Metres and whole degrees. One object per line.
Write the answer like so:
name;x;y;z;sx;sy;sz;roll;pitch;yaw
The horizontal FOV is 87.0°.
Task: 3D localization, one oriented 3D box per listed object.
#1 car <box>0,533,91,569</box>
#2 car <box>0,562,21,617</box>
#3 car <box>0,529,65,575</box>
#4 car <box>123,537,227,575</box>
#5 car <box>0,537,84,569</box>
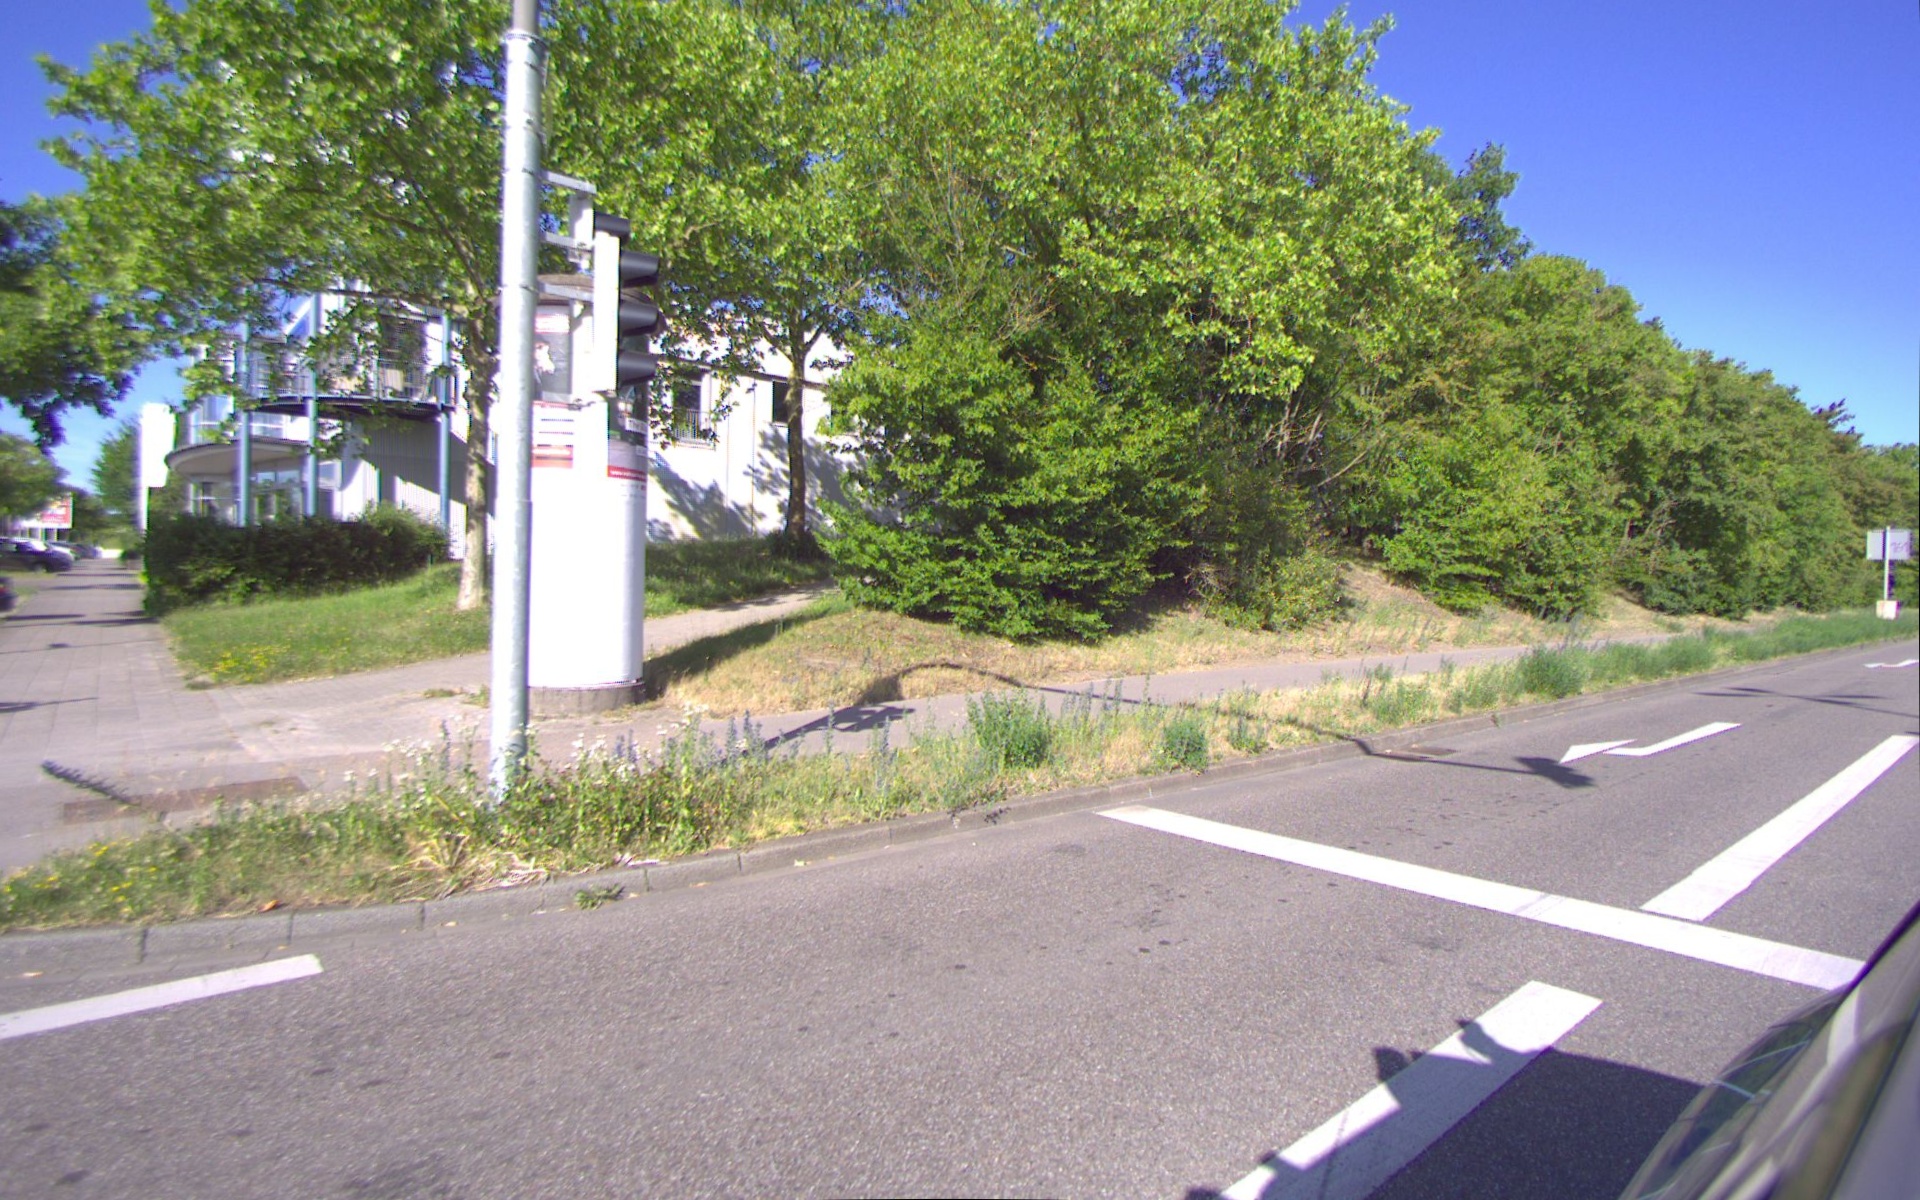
car;-54.507;-2.882;60.183;4.287;2.044;1.720;0;2;-42
car;-21.622;-0.210;20.112;4.288;1.137;1.719;-1;2;-43
car;-40.467;-2.014;42.510;4.287;1.859;1.720;-1;2;-42
car;-41.554;-2.308;53.608;4.287;1.858;1.720;0;2;-42
car;-59.102;-2.988;65.022;4.287;2.008;1.720;-1;2;-42
